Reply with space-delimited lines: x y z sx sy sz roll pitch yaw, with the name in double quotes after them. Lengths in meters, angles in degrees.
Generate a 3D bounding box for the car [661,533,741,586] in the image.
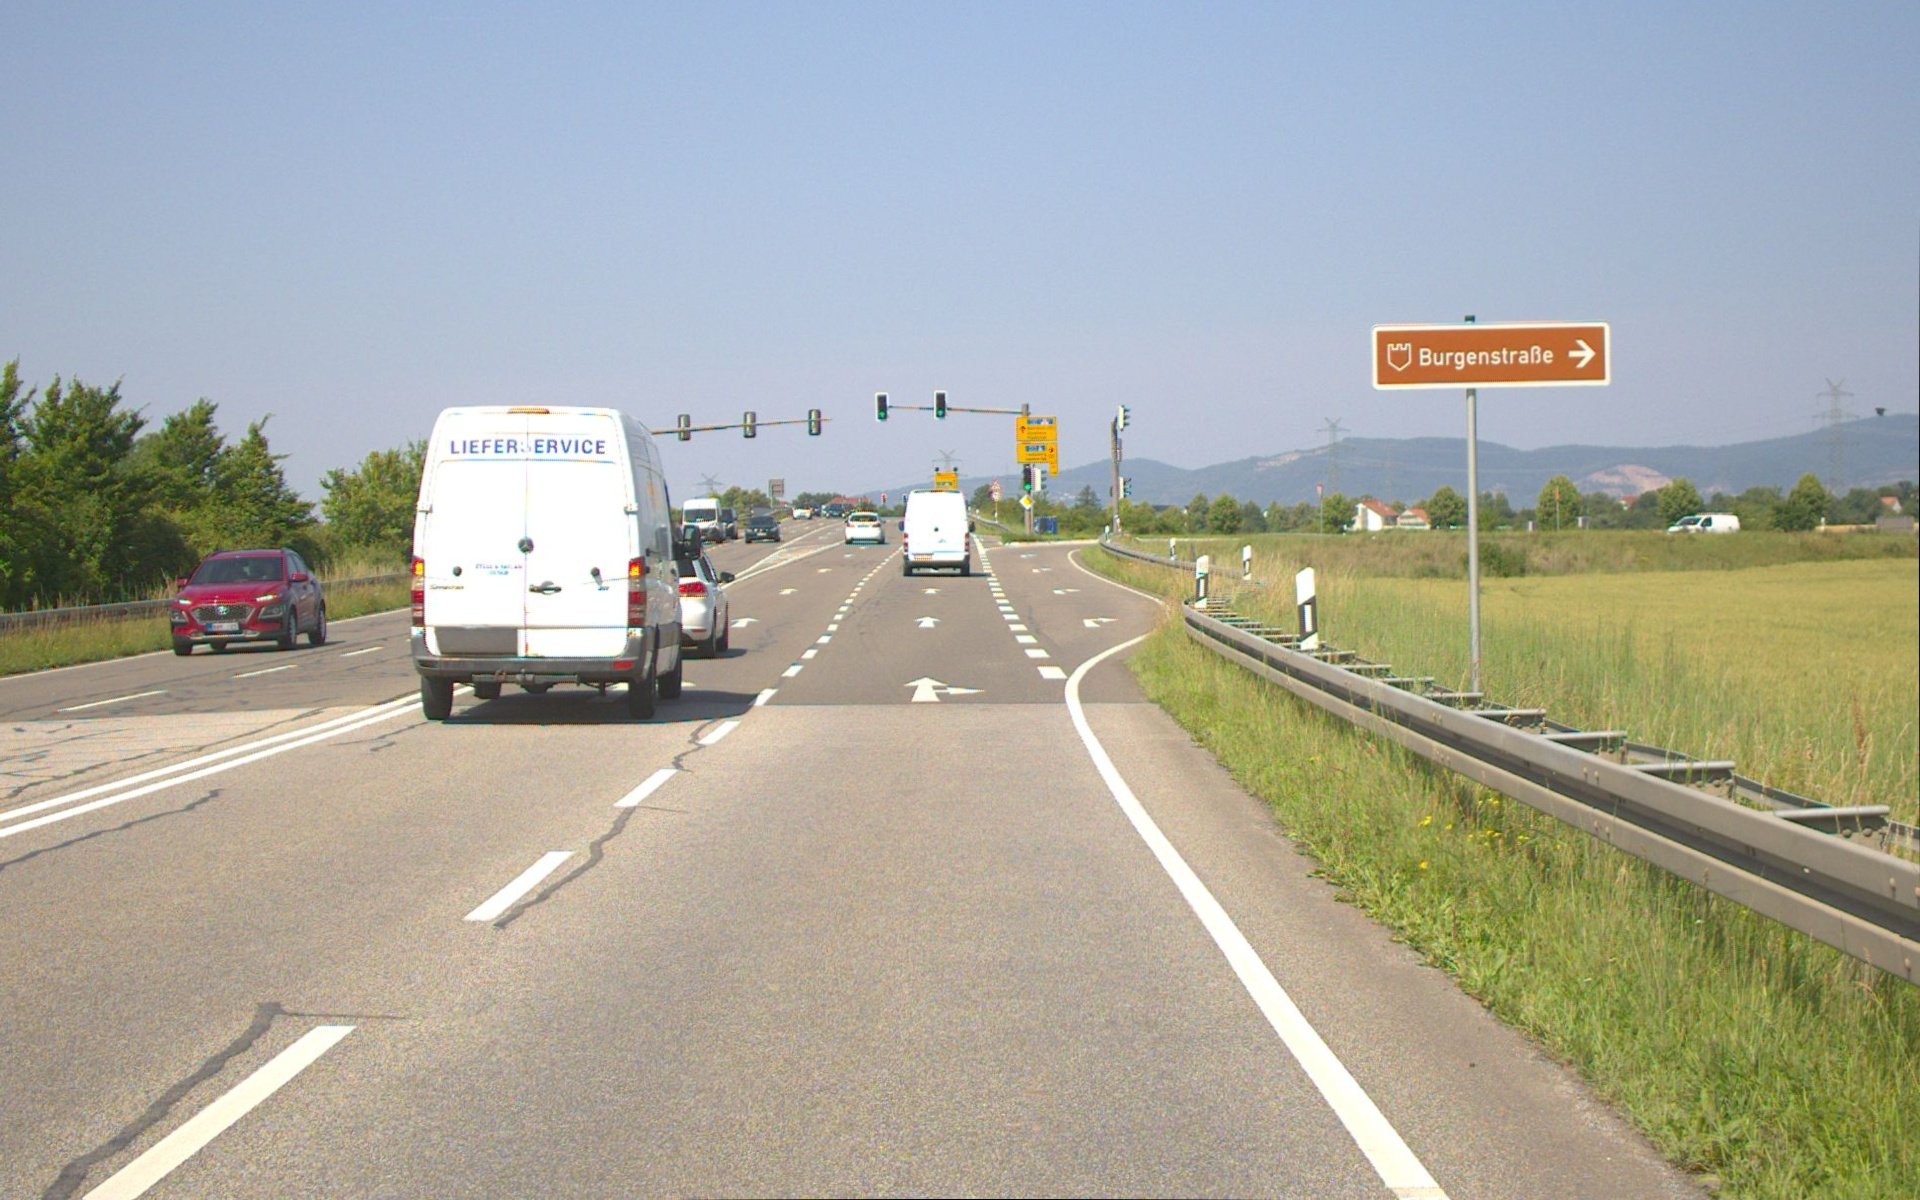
-7.338 -1.168 97.590 1.857 1.418 4.000 -2 1 1 "car"

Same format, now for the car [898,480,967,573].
-0.826 -2.210 103.220 1.993 2.686 4.970 -1 1 0 "car"

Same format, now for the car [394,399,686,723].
-3.639 -0.347 30.773 2.039 2.611 5.741 1 1 -2 "car"

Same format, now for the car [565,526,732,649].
-3.982 -0.199 44.532 1.799 1.503 4.196 0 1 0 "car"

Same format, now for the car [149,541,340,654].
-11.082 -0.068 53.525 1.993 1.557 4.311 -2 2 0 "car"

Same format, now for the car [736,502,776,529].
-11.124 -4.599 187.453 1.857 1.418 4.000 -1 1 1 "car"

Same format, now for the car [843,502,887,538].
-4.594 -3.861 166.706 1.993 1.697 4.275 1 1 0 "car"
